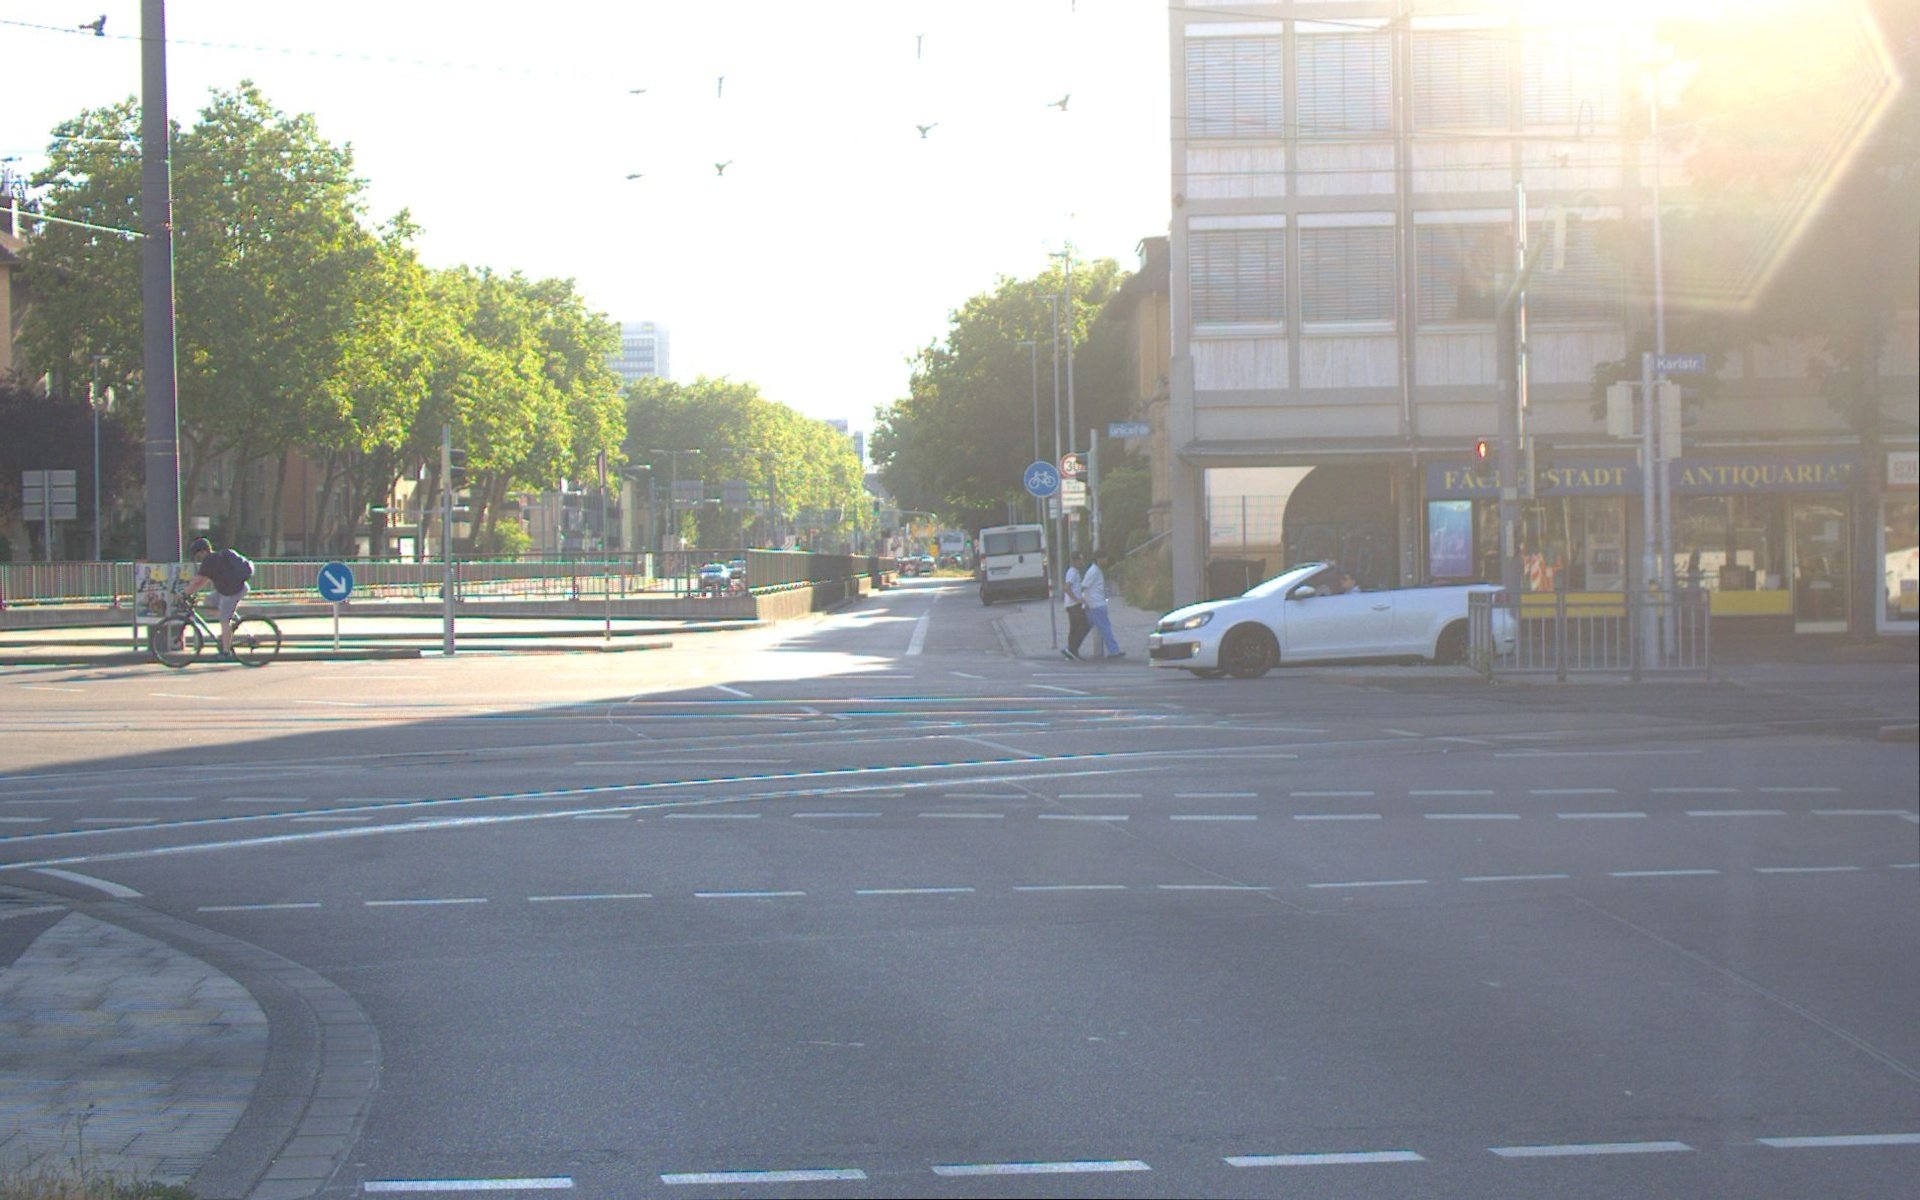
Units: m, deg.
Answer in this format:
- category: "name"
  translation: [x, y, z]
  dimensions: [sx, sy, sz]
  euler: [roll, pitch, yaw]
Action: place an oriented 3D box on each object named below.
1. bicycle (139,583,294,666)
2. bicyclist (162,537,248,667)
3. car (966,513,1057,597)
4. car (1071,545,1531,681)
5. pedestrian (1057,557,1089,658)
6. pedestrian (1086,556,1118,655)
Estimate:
- category: "bicycle"
  translation: [-10.080, 0.327, 46.664]
  dimensions: [1.972, 1.094, 0.677]
  euler: [-1, 1, -4]
- category: "bicyclist"
  translation: [-10.236, 0.020, 46.633]
  dimensions: [1.040, 1.733, 0.678]
  euler: [-1, 1, -4]
- category: "car"
  translation: [1.527, -1.355, 104.265]
  dimensions: [2.486, 2.384, 5.935]
  euler: [-2, 0, -1]
- category: "car"
  translation: [3.926, 0.125, 39.892]
  dimensions: [4.918, 1.474, 2.001]
  euler: [-1, 1, -13]
- category: "pedestrian"
  translation: [1.697, 0.102, 51.665]
  dimensions: [0.365, 1.502, 0.543]
  euler: [-1, 1, -7]
- category: "pedestrian"
  translation: [2.163, 0.077, 52.413]
  dimensions: [0.365, 1.502, 0.543]
  euler: [-1, 1, -7]
